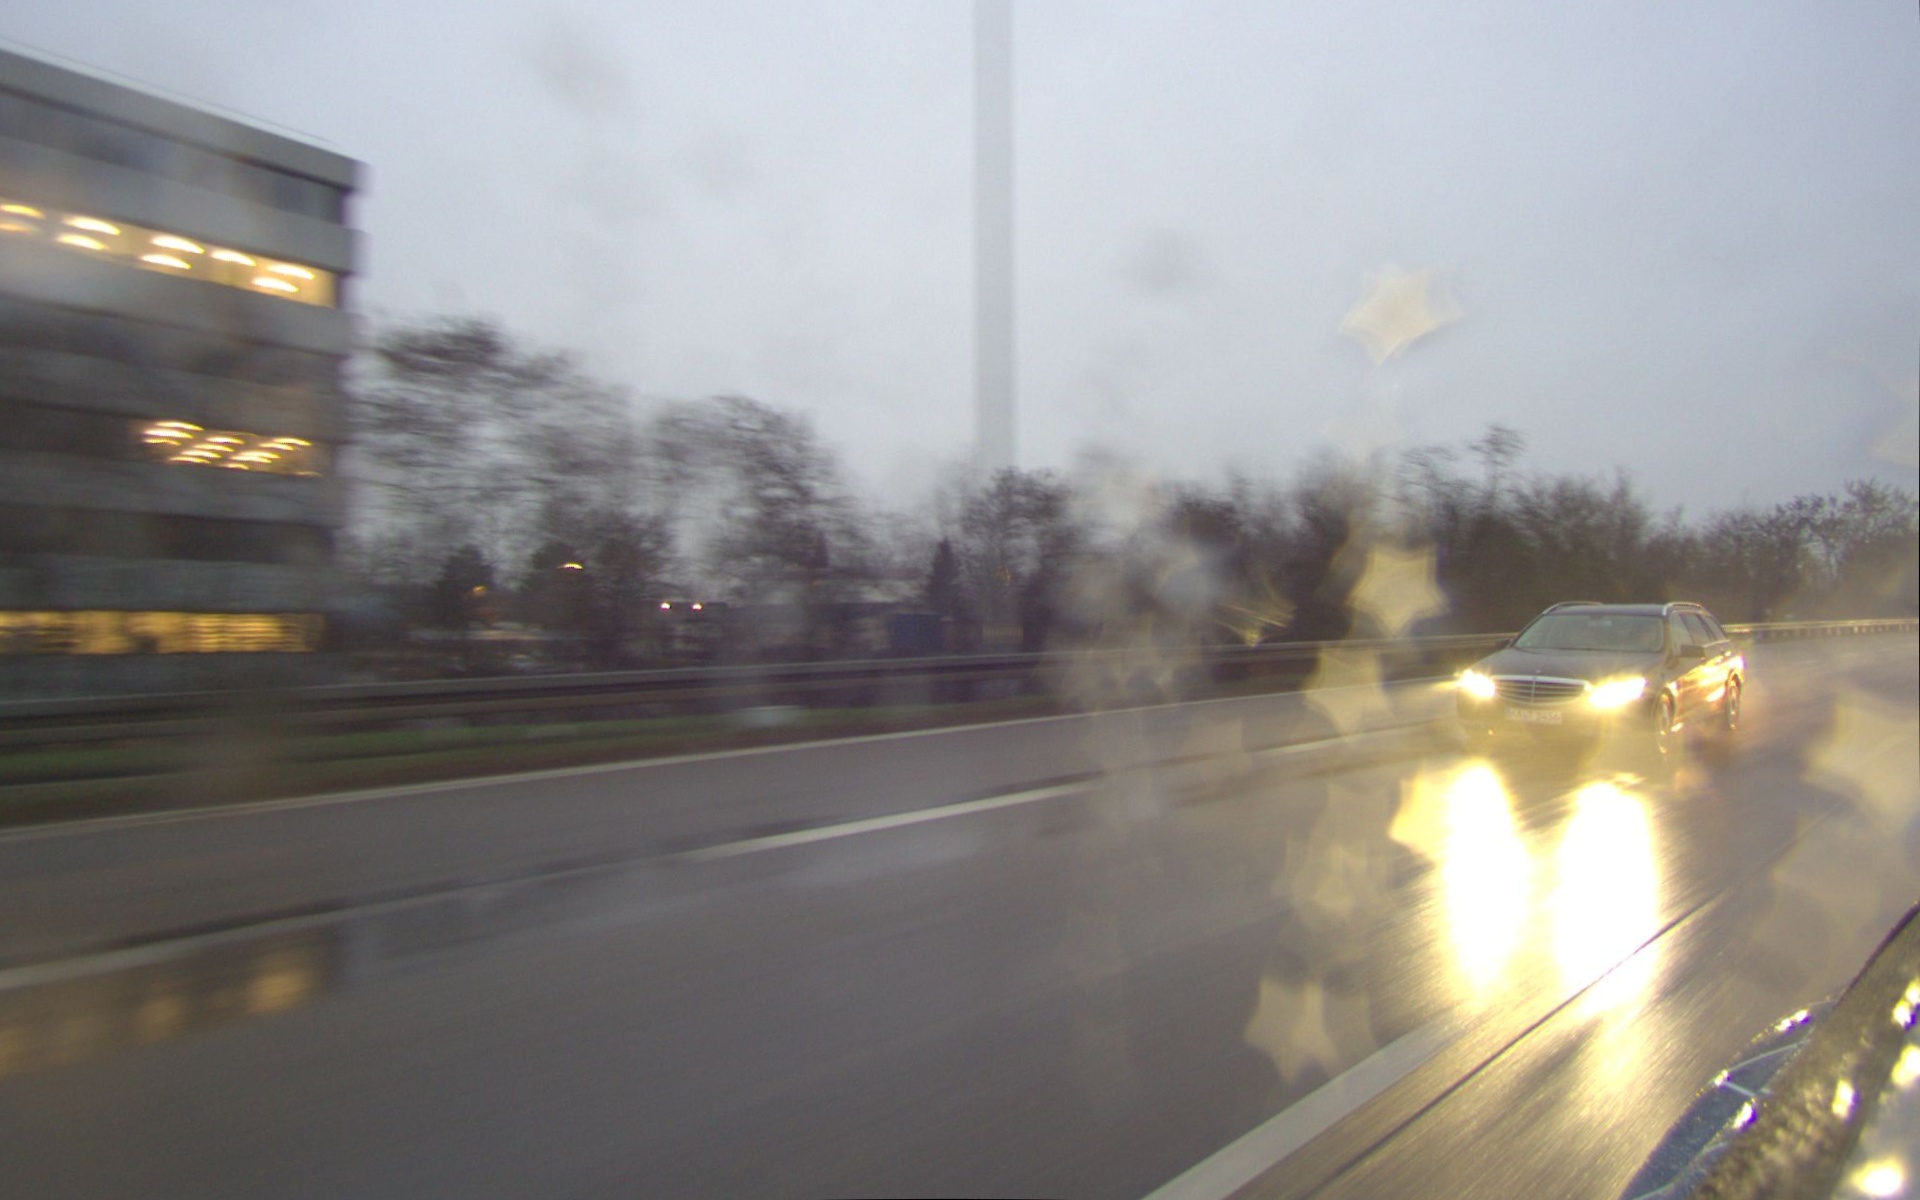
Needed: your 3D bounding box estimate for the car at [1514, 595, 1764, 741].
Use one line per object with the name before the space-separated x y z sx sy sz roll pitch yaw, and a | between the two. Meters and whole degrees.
car | 8.310 0.702 12.239 4.105 1.472 1.593 1 -1 -42
